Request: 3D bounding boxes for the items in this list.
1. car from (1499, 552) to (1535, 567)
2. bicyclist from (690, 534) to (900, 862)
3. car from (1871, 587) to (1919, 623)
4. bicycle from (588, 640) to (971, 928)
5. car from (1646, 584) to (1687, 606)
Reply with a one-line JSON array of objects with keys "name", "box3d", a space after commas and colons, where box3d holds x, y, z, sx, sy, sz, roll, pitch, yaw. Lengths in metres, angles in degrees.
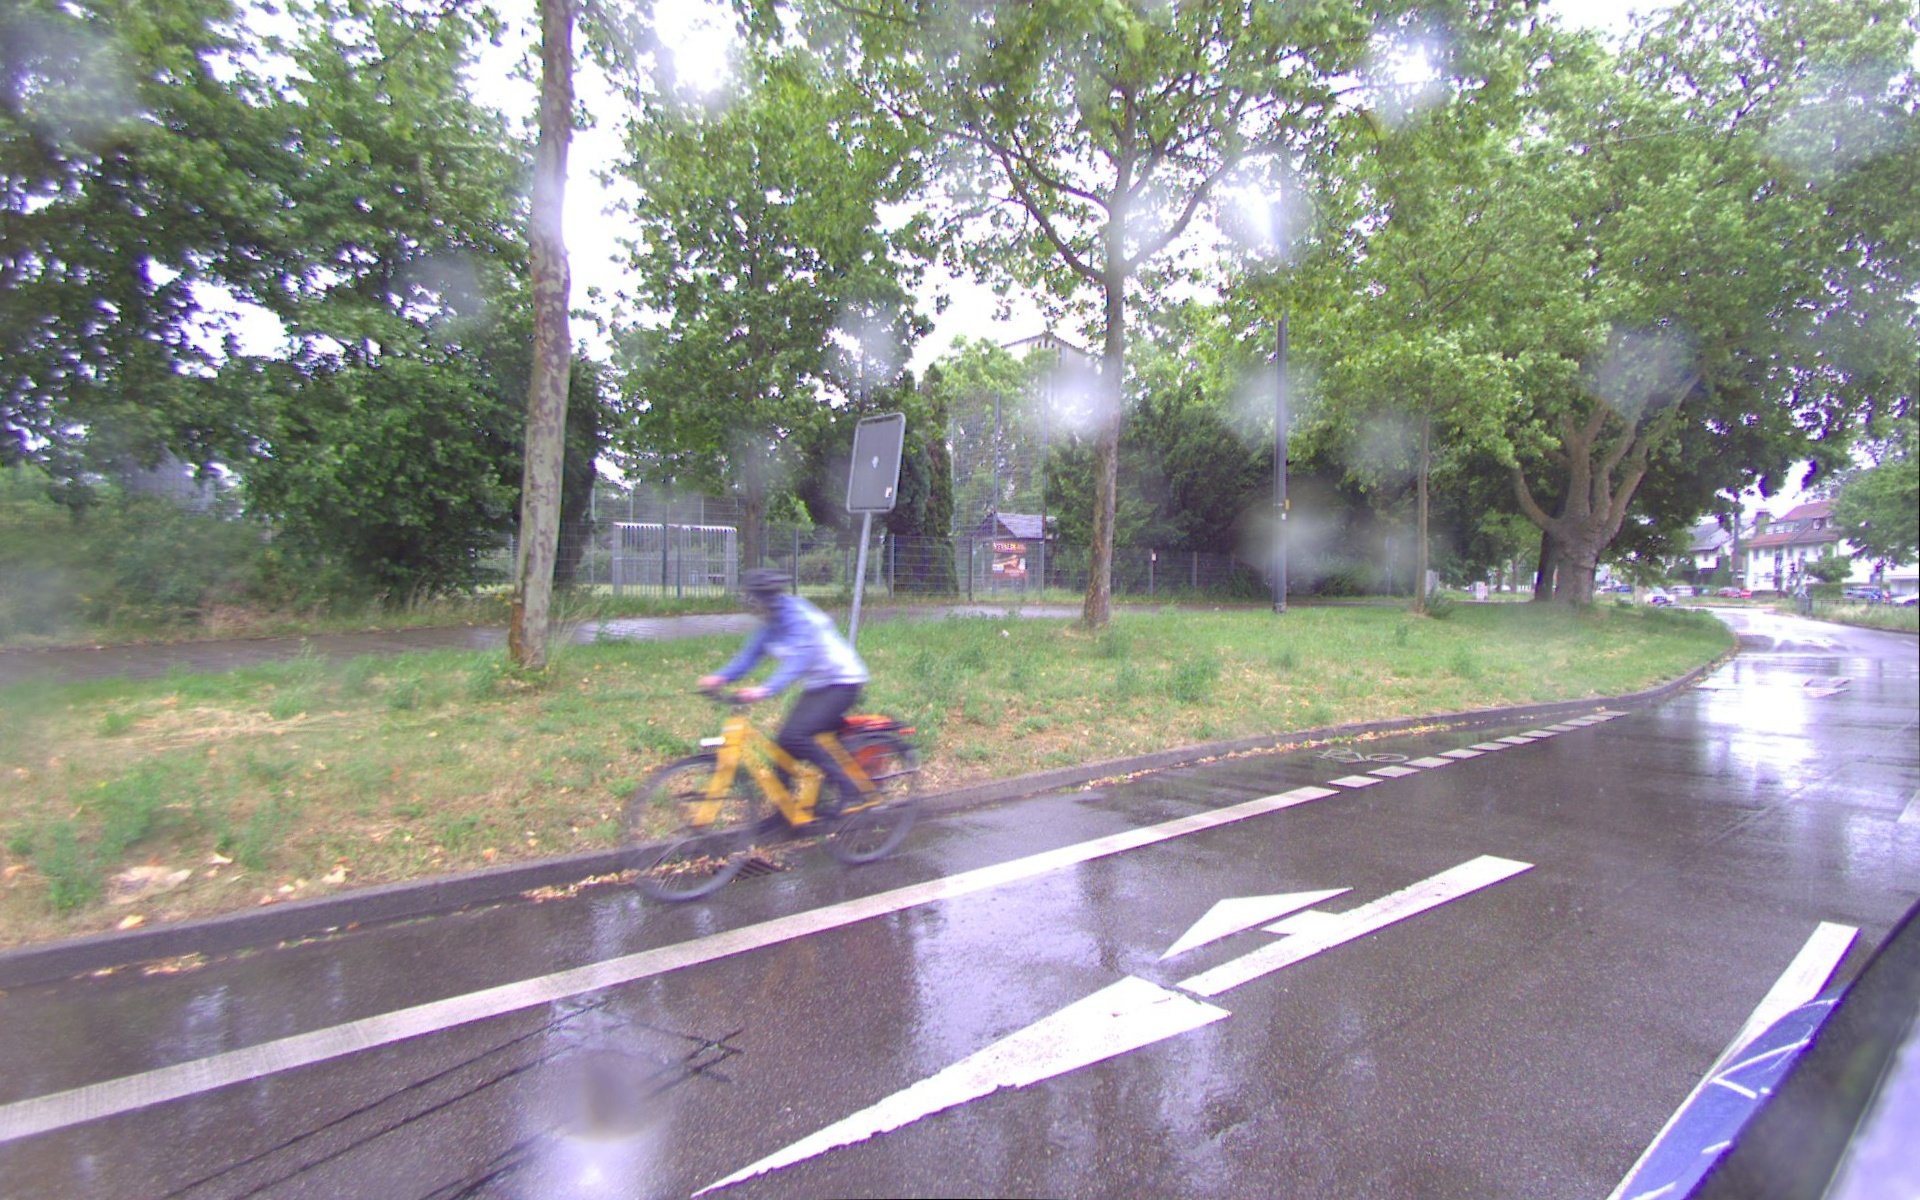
[{"name": "car", "box3d": [73.769, -5.320, 134.094, 3.958, 1.850, 1.983, 0, 0, 25]}, {"name": "bicyclist", "box3d": [-0.853, 0.446, 5.236, 0.829, 1.525, 0.692, -1, 1, -41]}, {"name": "car", "box3d": [39.332, 0.181, 40.584, 4.025, 1.438, 1.652, 0, 0, 39]}, {"name": "bicycle", "box3d": [-0.866, 0.828, 5.228, 1.852, 1.131, 0.692, -1, 1, -41]}, {"name": "car", "box3d": [52.826, -0.392, 75.742, 1.853, 1.638, 3.778, 0, 0, 24]}]
